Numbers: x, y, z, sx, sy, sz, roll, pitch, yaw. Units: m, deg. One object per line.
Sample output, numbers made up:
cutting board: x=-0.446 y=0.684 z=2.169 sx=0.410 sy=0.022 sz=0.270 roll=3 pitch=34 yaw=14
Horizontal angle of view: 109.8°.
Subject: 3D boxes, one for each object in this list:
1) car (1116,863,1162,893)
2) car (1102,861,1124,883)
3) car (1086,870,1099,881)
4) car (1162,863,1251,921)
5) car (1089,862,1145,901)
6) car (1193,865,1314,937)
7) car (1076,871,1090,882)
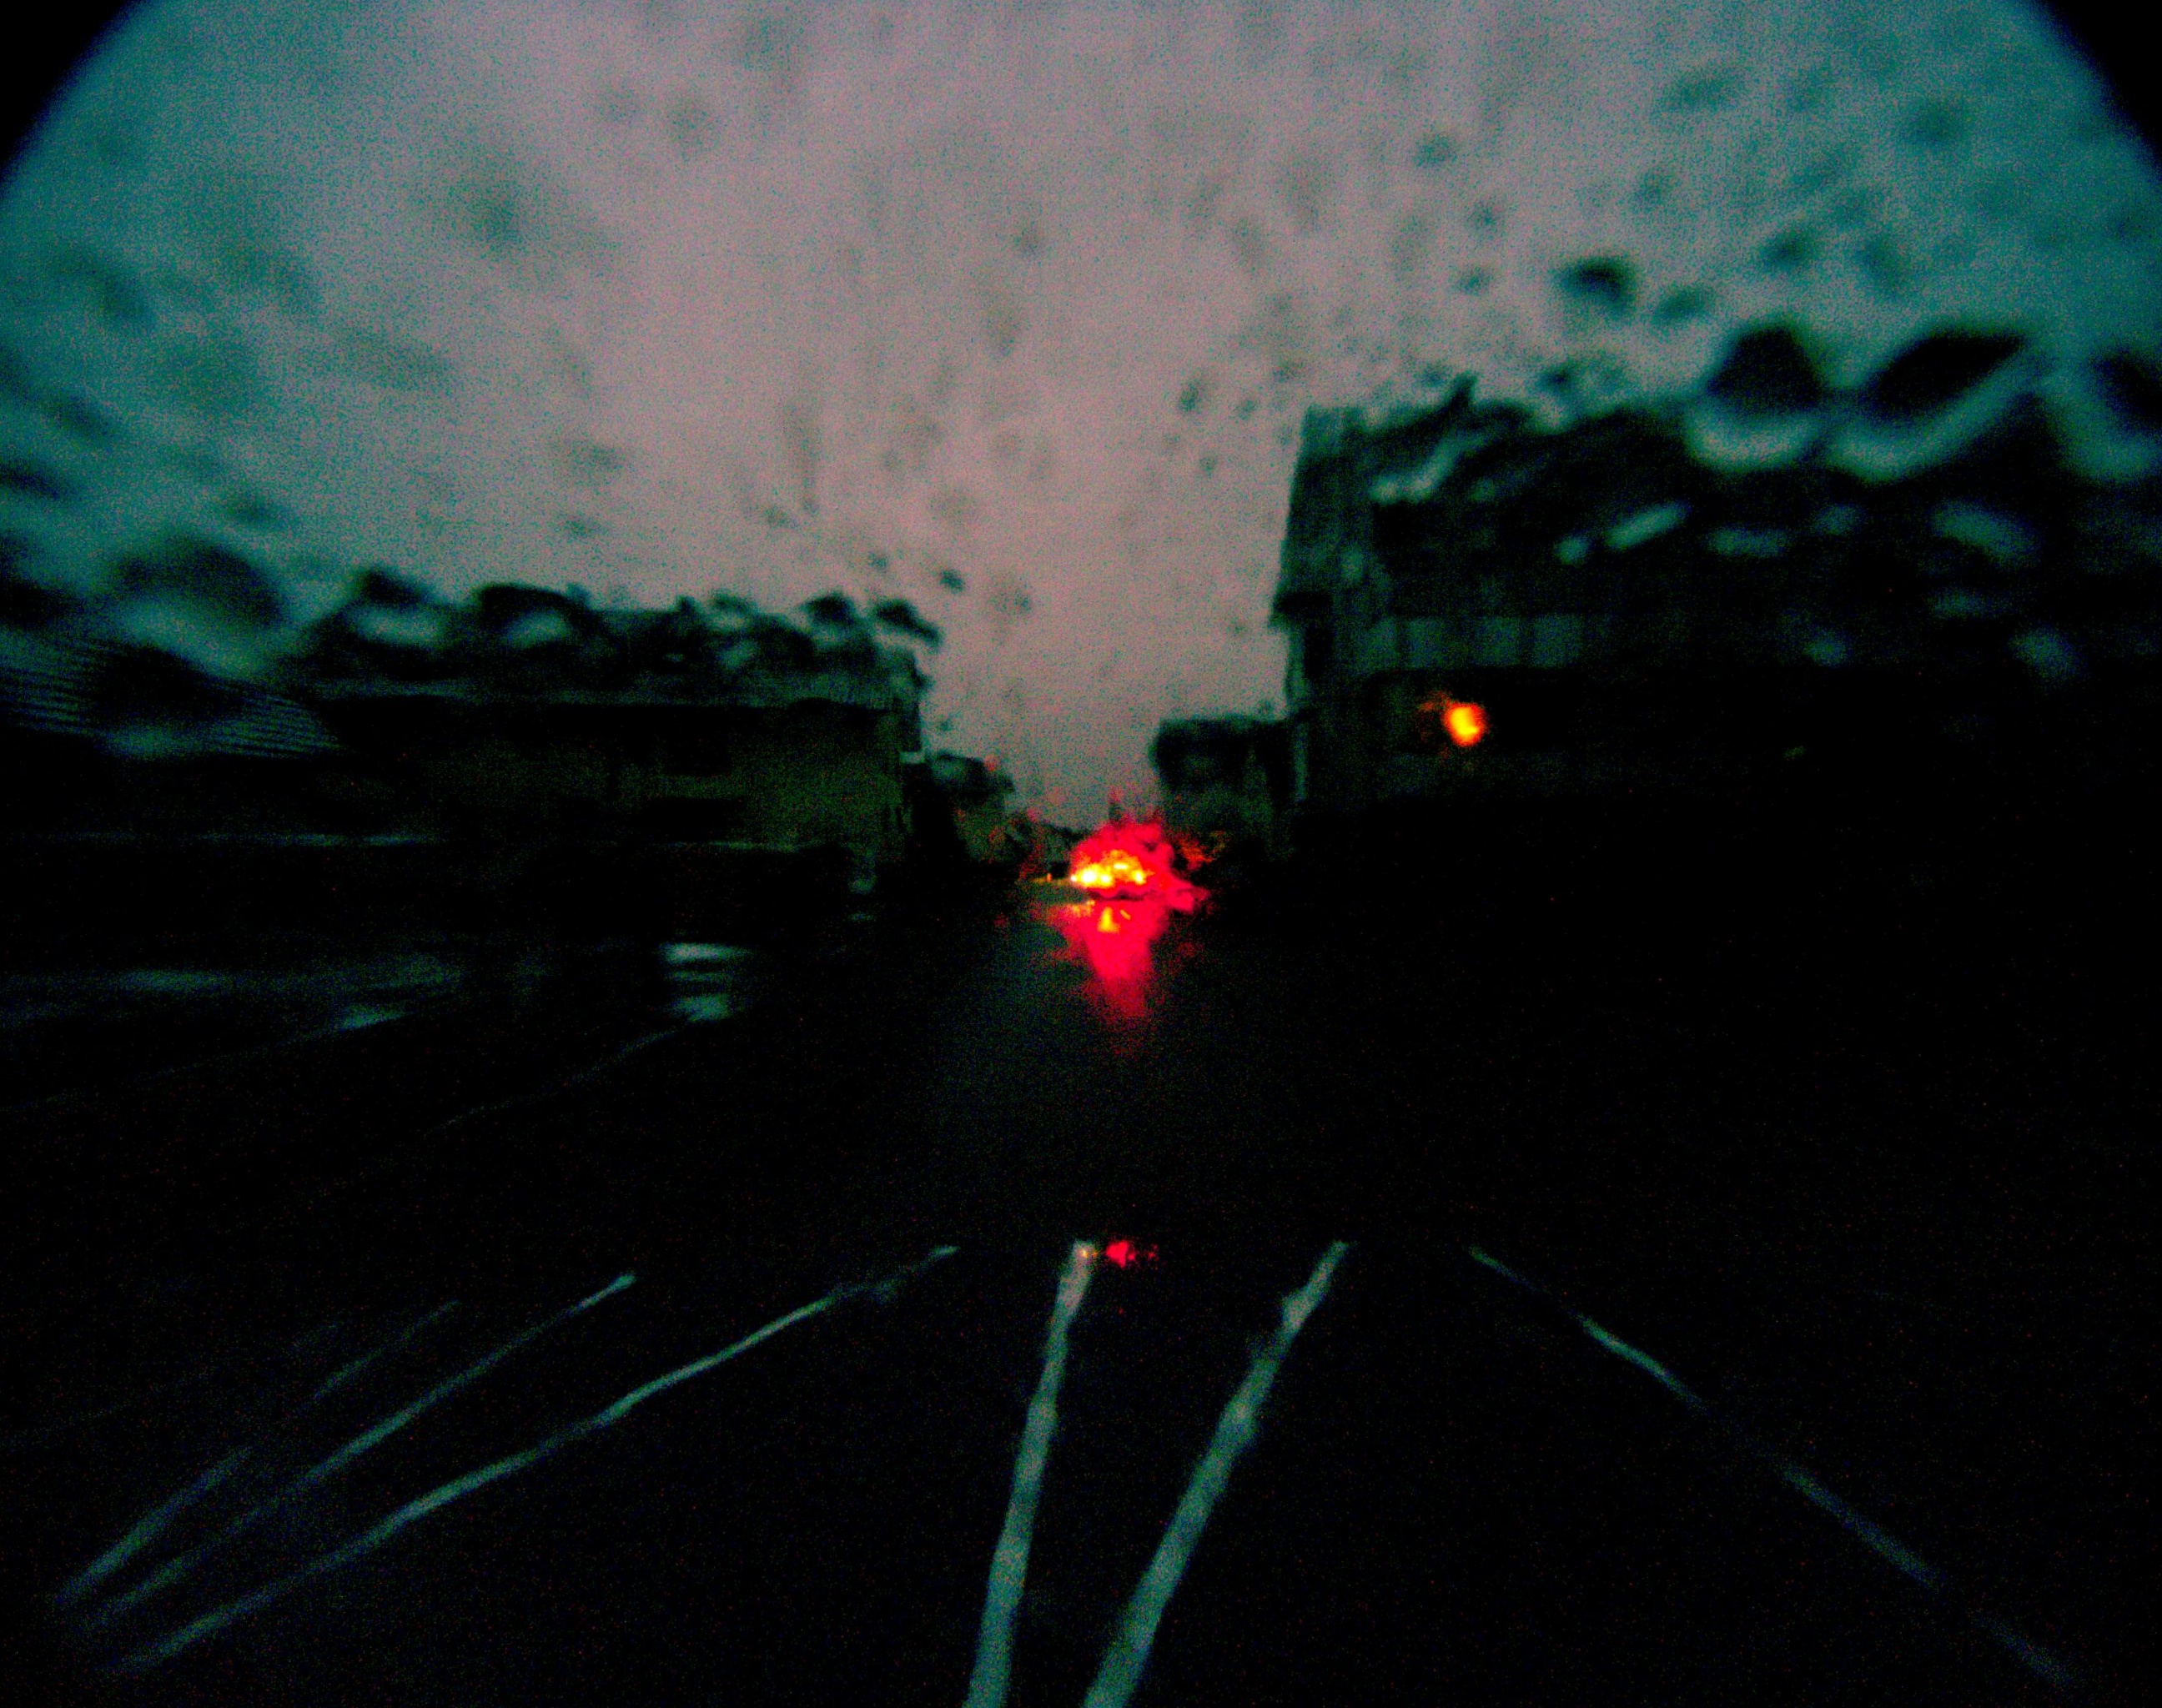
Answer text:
car: x=2.840 y=1.182 z=38.191 sx=1.739 sy=1.435 sz=4.439 roll=0 pitch=-1 yaw=-3
car: x=2.682 y=1.566 z=64.848 sx=1.775 sy=1.781 sz=4.130 roll=1 pitch=-2 yaw=1
car: x=1.892 y=3.542 z=124.554 sx=1.794 sy=1.763 sz=3.891 roll=1 pitch=-1 yaw=5
car: x=3.376 y=0.990 z=21.117 sx=1.669 sy=1.409 sz=3.690 roll=-1 pitch=0 yaw=-3
car: x=1.430 y=1.093 z=31.835 sx=1.779 sy=1.486 sz=4.378 roll=1 pitch=-1 yaw=-5
car: x=3.673 y=0.960 z=16.878 sx=1.672 sy=1.401 sz=3.914 roll=0 pitch=-1 yaw=-2
car: x=0.288 y=3.077 z=105.961 sx=1.756 sy=1.486 sz=4.251 roll=1 pitch=-1 yaw=3
